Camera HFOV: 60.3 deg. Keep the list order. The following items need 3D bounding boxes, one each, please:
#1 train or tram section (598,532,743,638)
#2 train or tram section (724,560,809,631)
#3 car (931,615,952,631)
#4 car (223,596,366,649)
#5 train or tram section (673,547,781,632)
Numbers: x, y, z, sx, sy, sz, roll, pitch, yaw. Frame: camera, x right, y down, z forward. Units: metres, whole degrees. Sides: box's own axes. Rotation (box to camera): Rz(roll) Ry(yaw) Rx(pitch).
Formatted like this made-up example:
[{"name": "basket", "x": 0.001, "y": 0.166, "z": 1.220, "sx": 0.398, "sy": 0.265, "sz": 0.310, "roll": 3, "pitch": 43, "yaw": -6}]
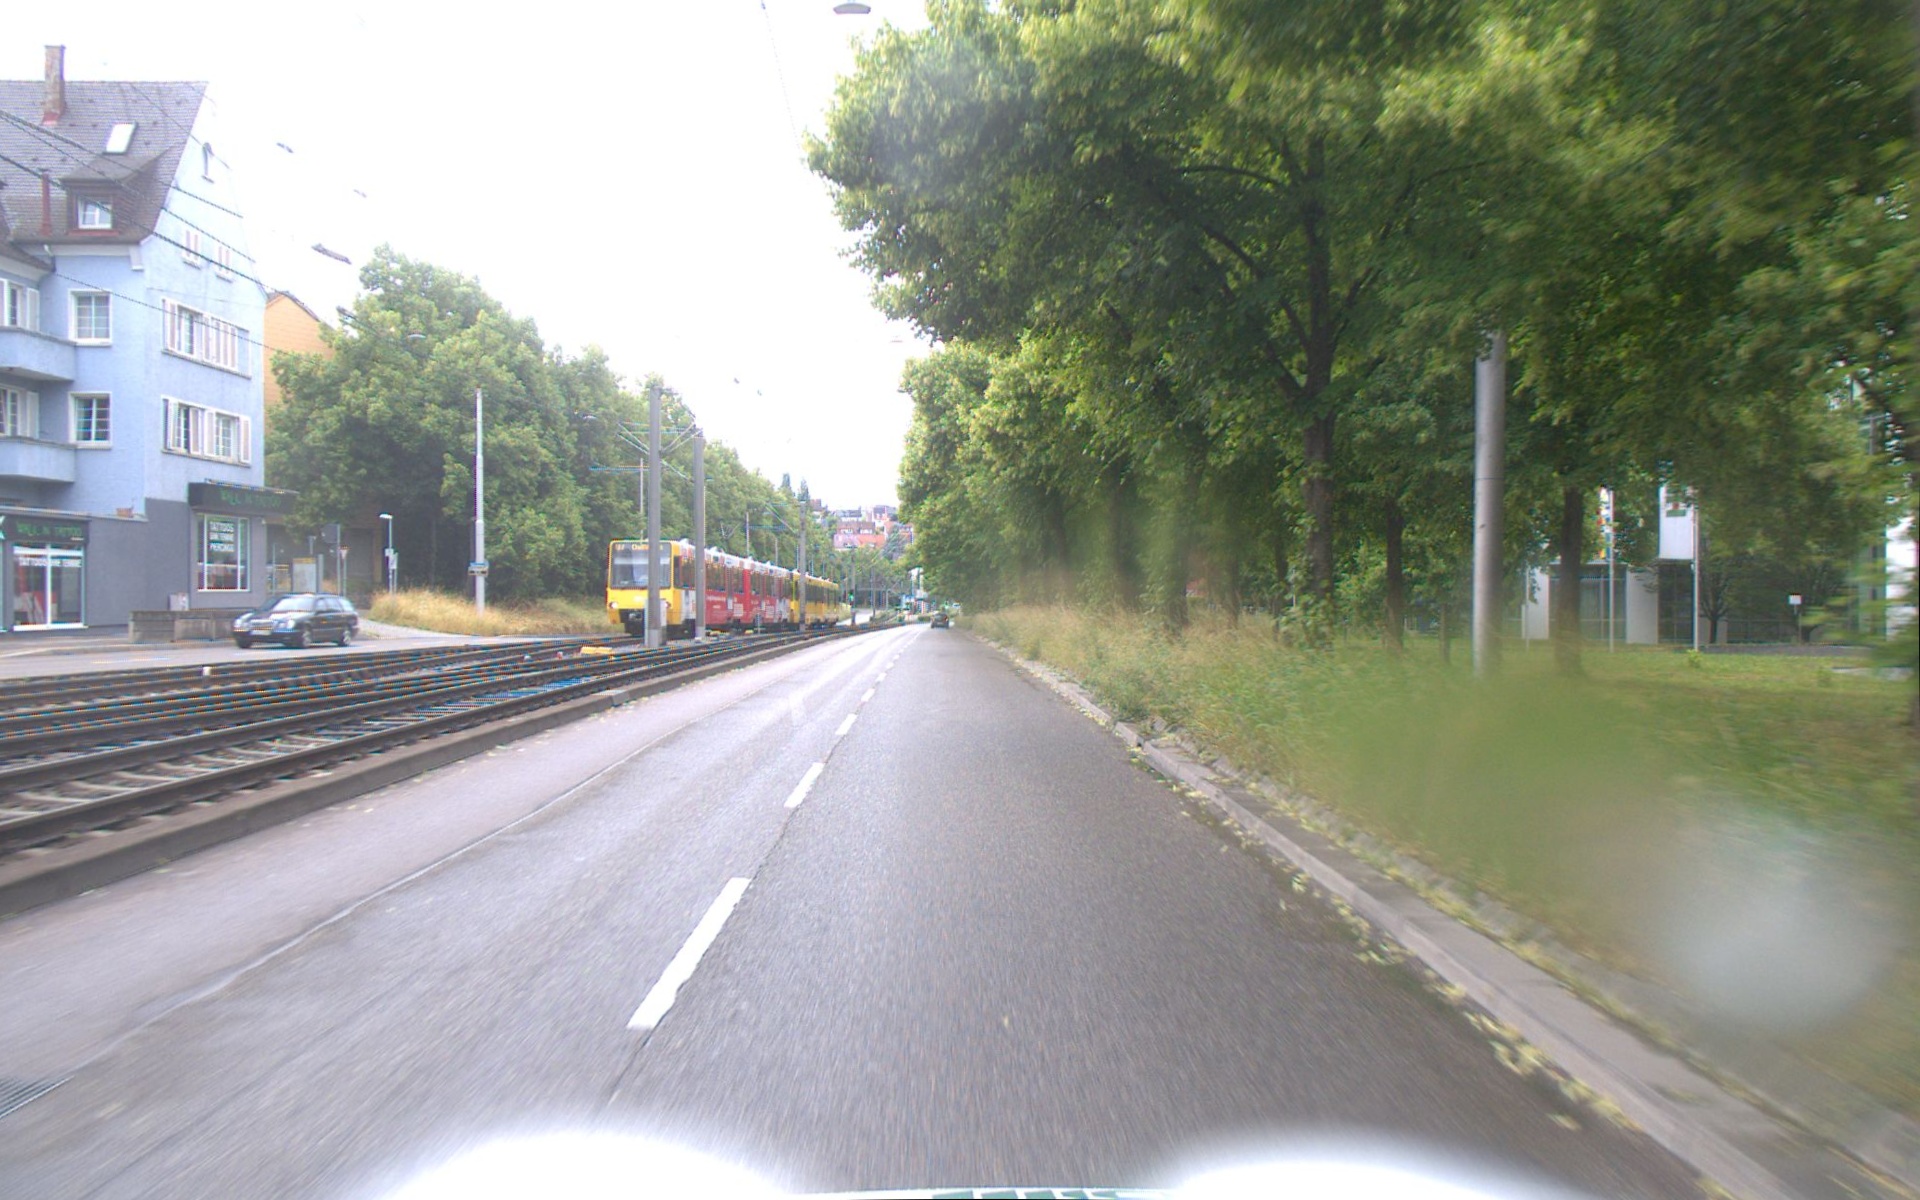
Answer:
[{"name": "train or tram section", "x": -11.483, "y": -0.449, "z": 67.427, "sx": 3.148, "sy": 3.863, "sz": 14.789, "roll": 0, "pitch": -1, "yaw": 1}, {"name": "train or tram section", "x": -11.187, "y": -0.161, "z": 97.234, "sx": 3.148, "sy": 3.863, "sz": 14.789, "roll": 0, "pitch": -1, "yaw": 1}, {"name": "car", "x": -1.786, "y": 2.153, "z": 157.328, "sx": 1.942, "sy": 1.466, "sz": 4.473, "roll": 0, "pitch": 0, "yaw": -1}, {"name": "car", "x": -17.879, "y": 0.596, "z": 44.680, "sx": 1.863, "sy": 1.348, "sz": 4.826, "roll": 0, "pitch": -1, "yaw": 0}, {"name": "train or tram section", "x": -11.361, "y": -0.391, "z": 82.295, "sx": 3.148, "sy": 3.863, "sz": 14.789, "roll": 0, "pitch": -1, "yaw": 1}]
